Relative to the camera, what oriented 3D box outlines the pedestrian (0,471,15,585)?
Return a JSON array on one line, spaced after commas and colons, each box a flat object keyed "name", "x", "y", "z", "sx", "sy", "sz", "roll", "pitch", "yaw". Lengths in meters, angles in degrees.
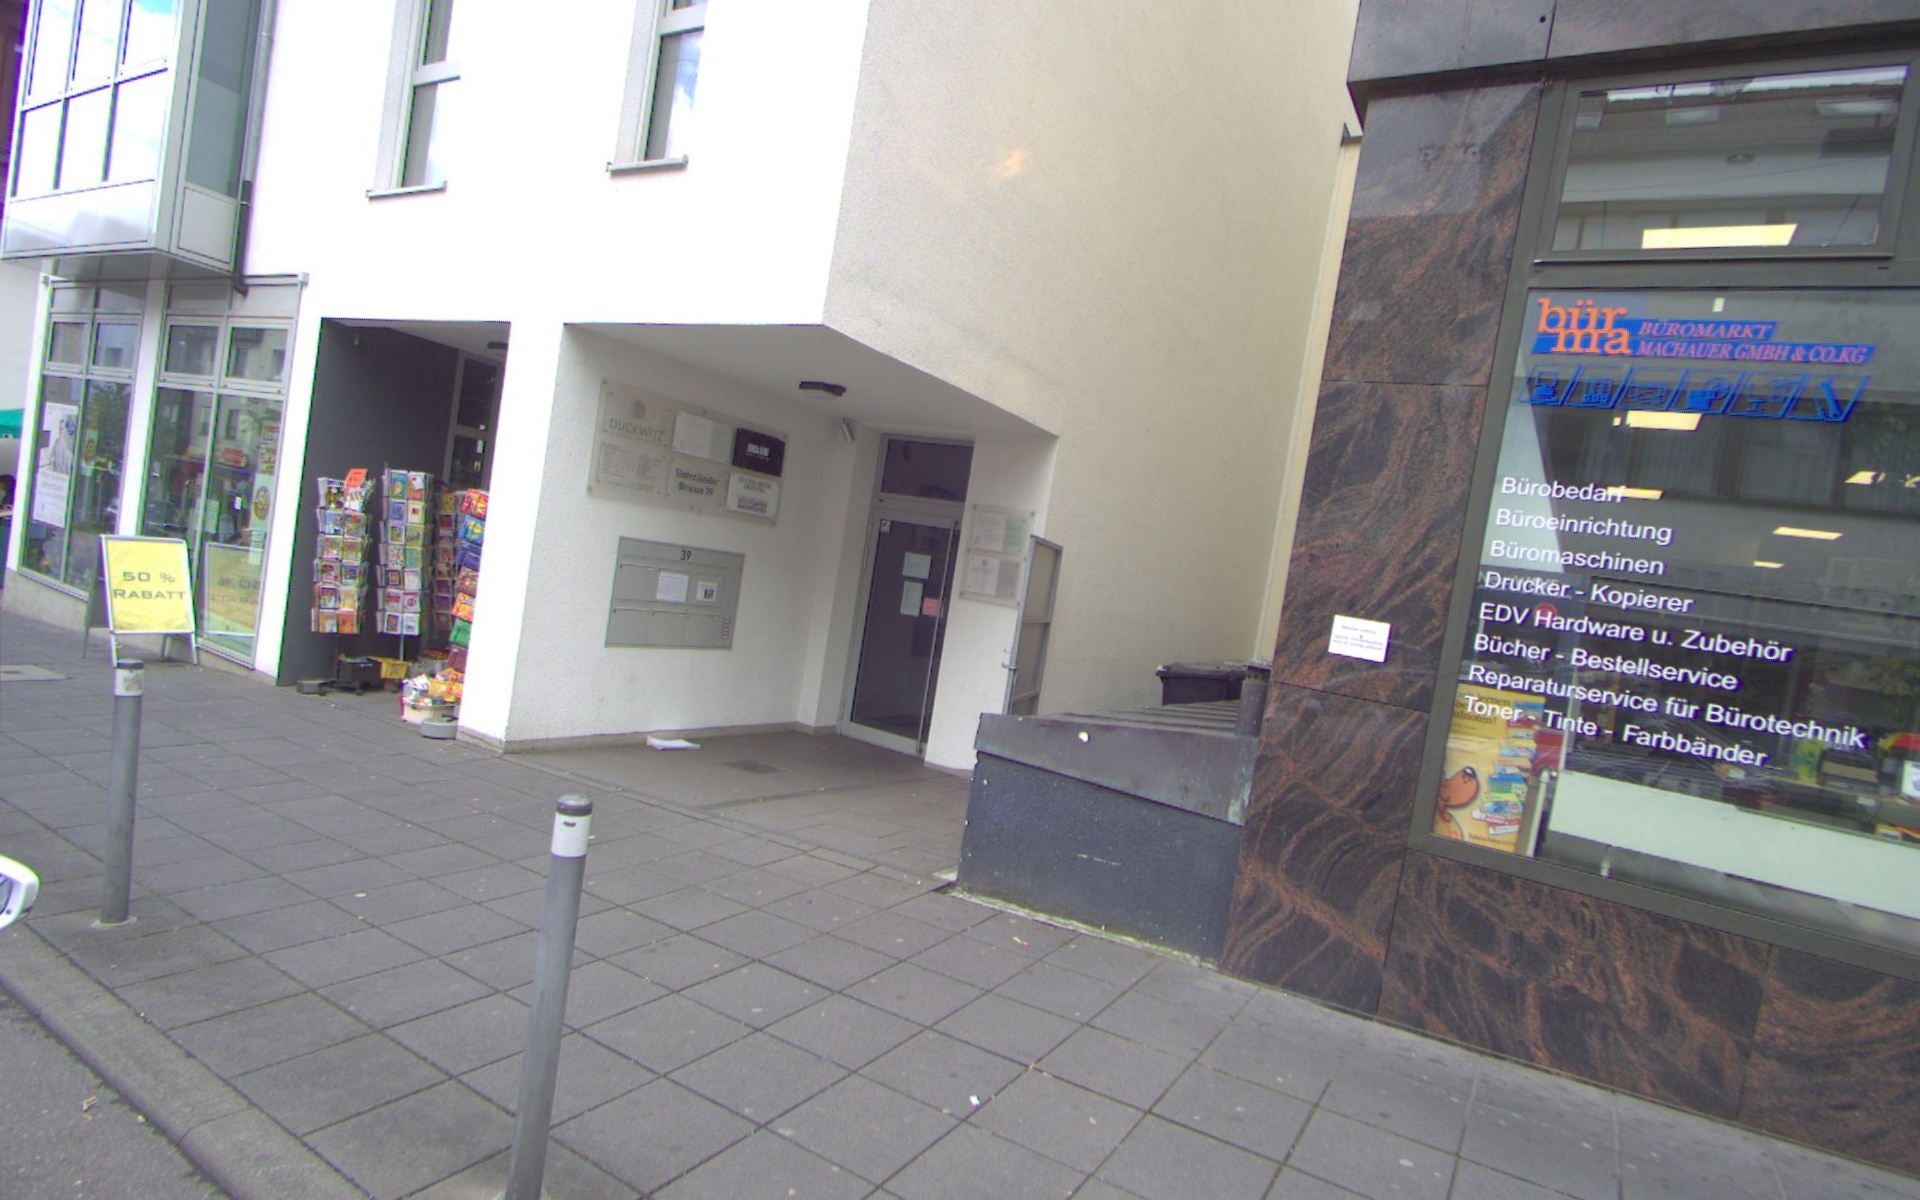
[{"name": "pedestrian", "x": -14.867, "y": -1.130, "z": 15.212, "sx": 0.556, "sy": 1.710, "sz": 0.574, "roll": 7, "pitch": 1, "yaw": 26}]
